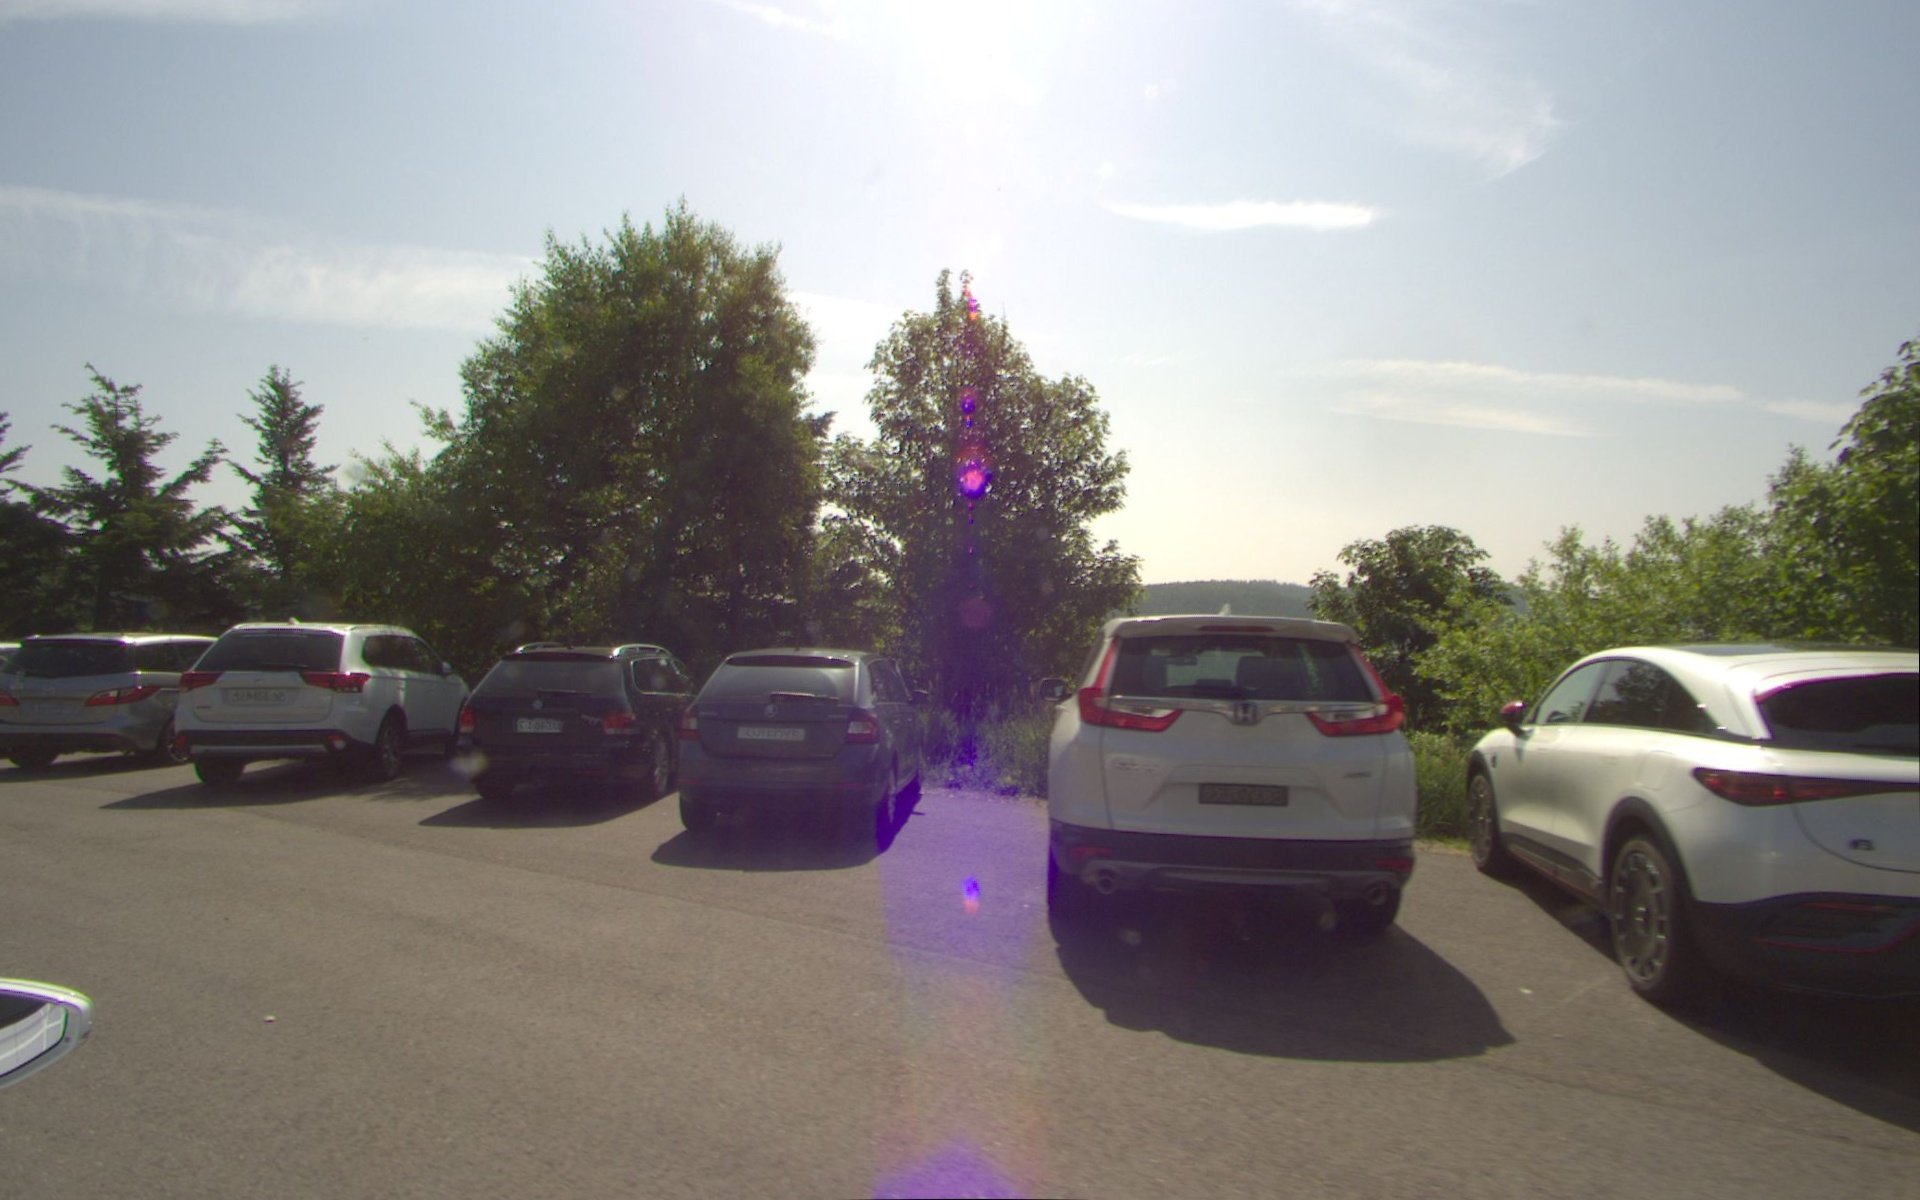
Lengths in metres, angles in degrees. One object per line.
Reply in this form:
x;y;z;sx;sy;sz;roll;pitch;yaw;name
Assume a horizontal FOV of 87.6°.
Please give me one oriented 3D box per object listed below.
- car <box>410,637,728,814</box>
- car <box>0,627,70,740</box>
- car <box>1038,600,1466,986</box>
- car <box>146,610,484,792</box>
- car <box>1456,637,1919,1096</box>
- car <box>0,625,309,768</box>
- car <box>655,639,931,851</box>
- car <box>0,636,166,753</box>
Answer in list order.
-3.794;1.203;10.566;1.858;1.479;4.055;1;-4;-2;car
-15.508;1.200;14.342;1.953;1.715;4.276;1;-4;-6;car
1.514;0.976;6.570;1.855;1.669;4.189;0;-4;6;car
-7.155;1.078;11.703;1.829;1.715;4.226;1;-3;-11;car
4.121;0.970;5.207;1.908;1.519;4.098;0;-2;14;car
-10.420;1.195;13.083;1.786;1.567;4.000;1;-4;-11;car
-1.260;1.157;9.100;1.630;1.477;3.810;1;-3;4;car
-13.293;1.283;13.882;1.734;1.494;4.002;0;-4;-7;car
